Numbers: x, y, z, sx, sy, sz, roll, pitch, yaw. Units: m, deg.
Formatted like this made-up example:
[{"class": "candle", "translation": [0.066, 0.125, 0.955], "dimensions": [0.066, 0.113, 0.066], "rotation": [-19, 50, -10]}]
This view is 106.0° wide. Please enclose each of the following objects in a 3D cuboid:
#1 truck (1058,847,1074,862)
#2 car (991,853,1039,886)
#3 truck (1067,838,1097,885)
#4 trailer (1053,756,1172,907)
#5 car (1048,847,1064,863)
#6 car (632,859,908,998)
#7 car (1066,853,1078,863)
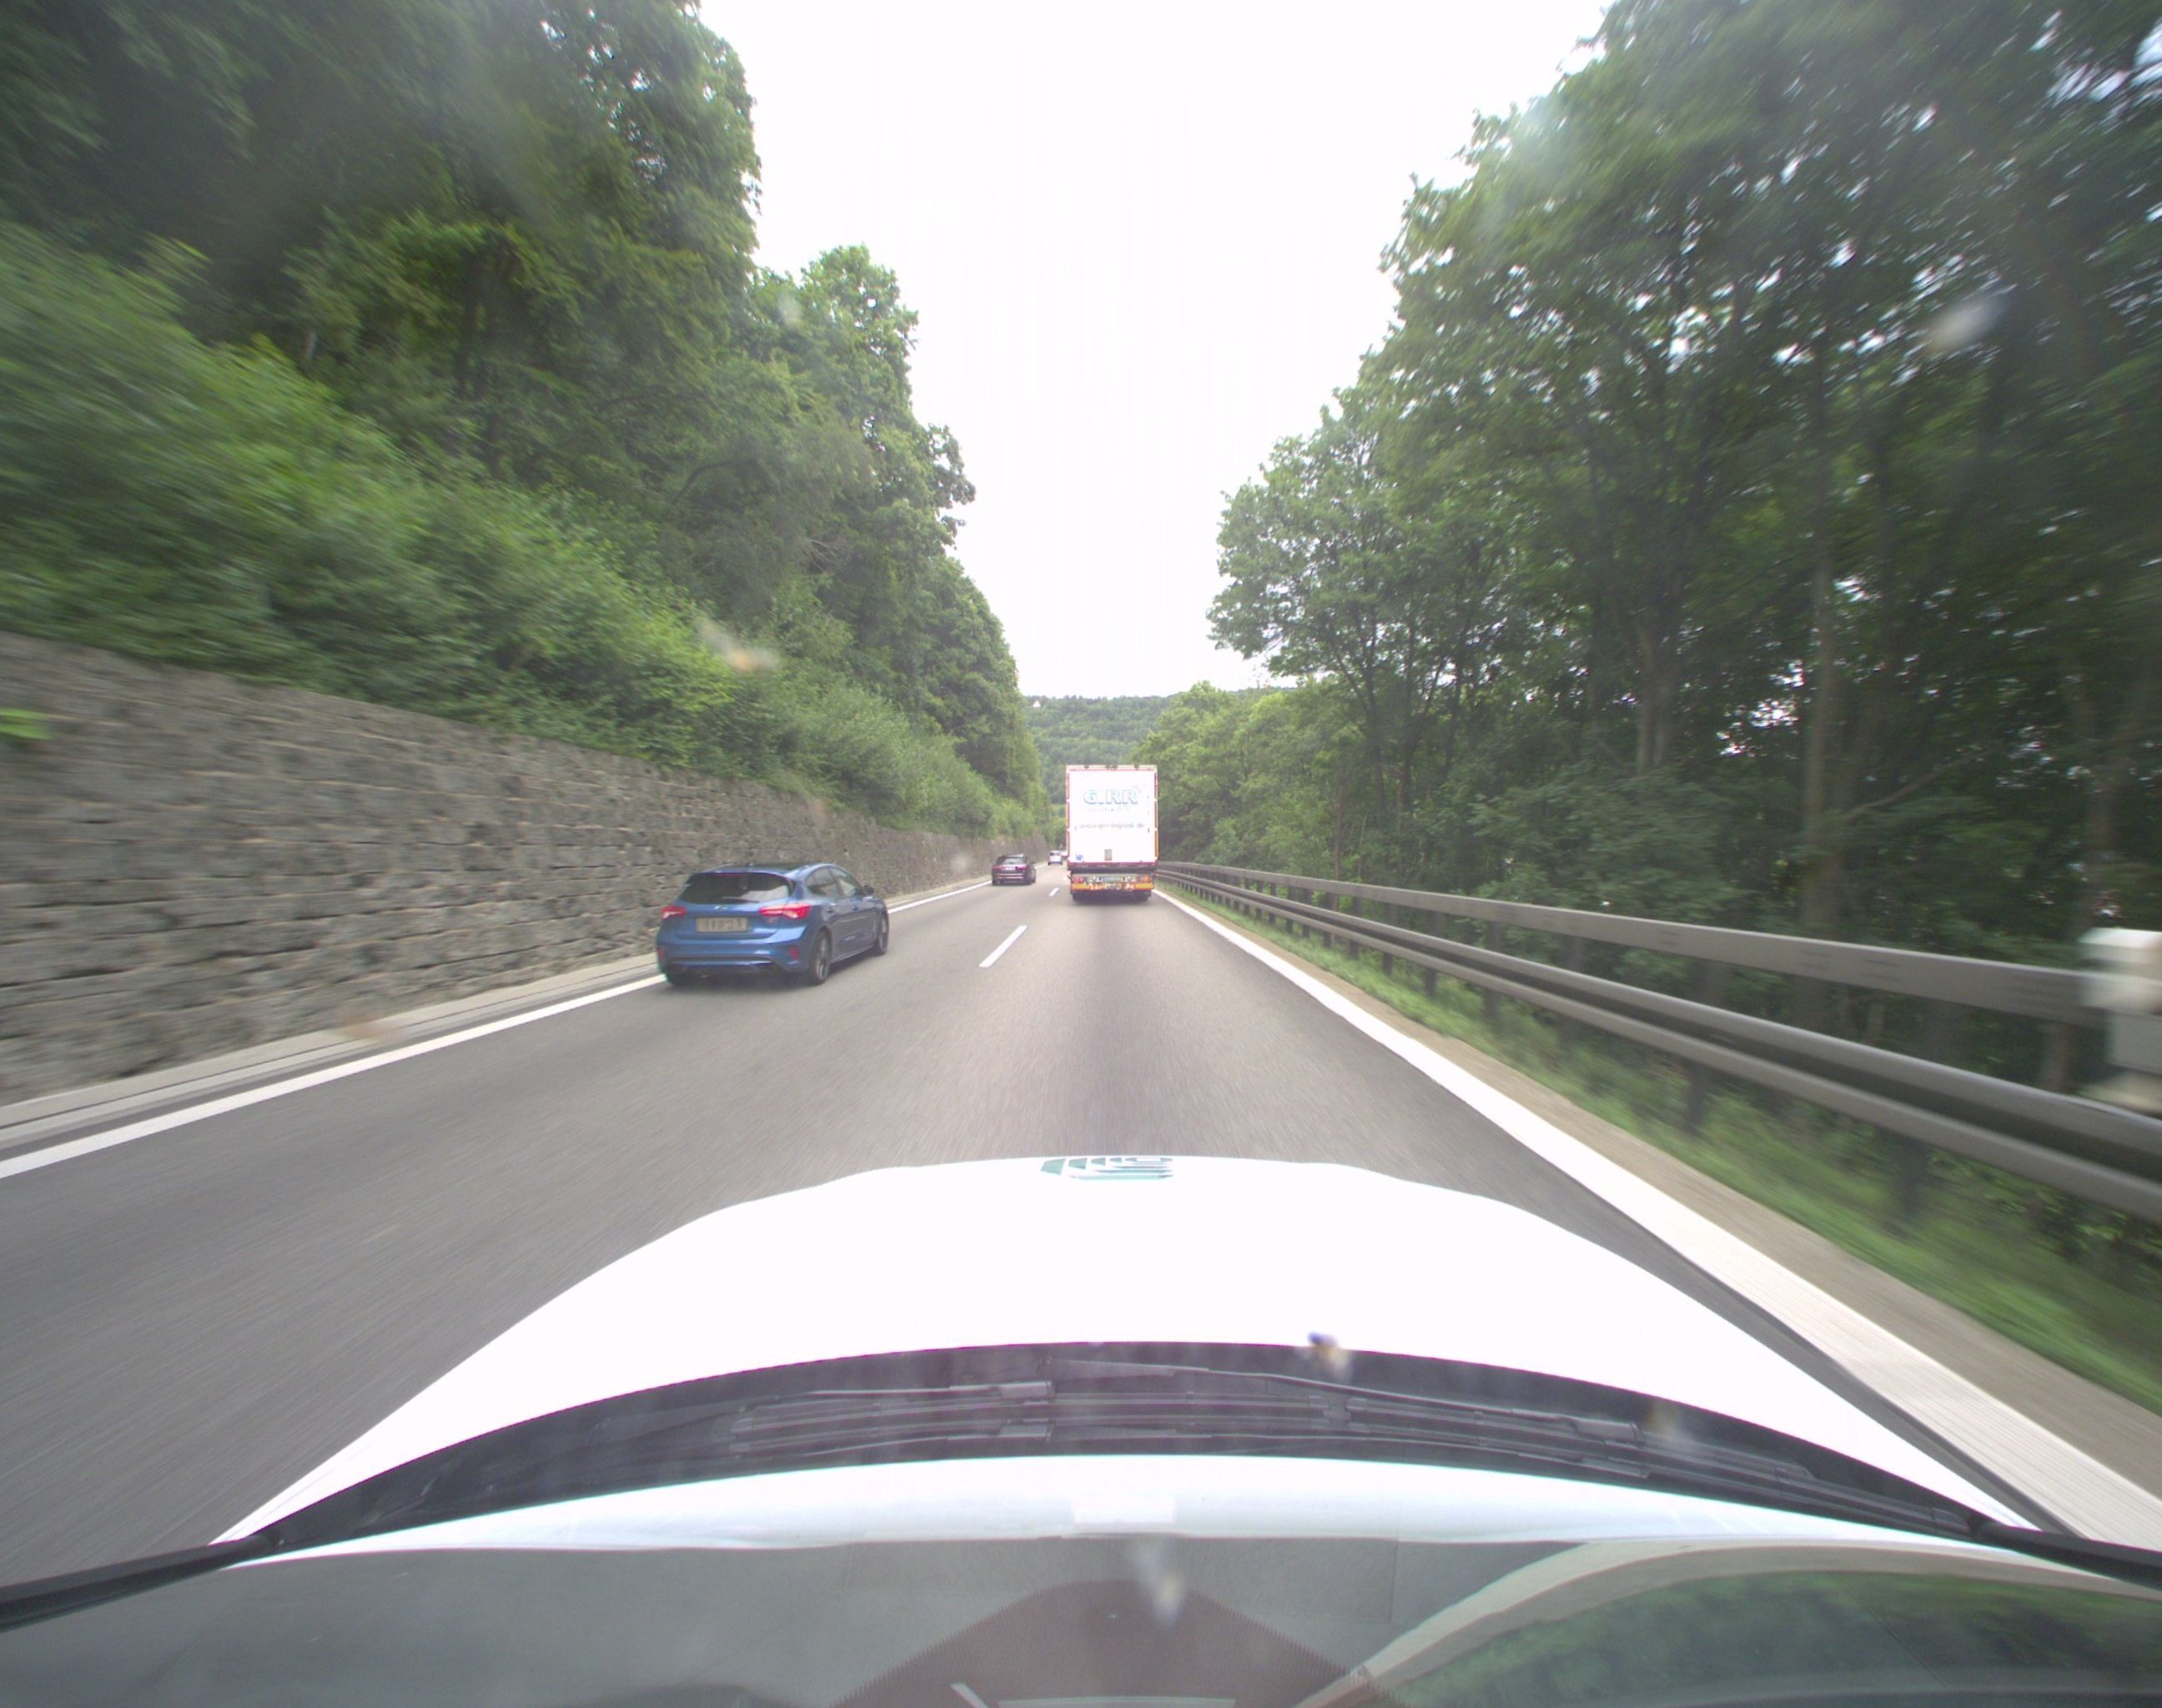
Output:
[{"class": "truck", "translation": [-2.322, 0.031, 129.125], "dimensions": [2.342, 2.274, 6.847], "rotation": [2, 0, 0]}, {"class": "car", "translation": [-3.143, 0.710, 39.586], "dimensions": [1.754, 1.463, 5.124], "rotation": [0, 0, 2]}, {"class": "truck", "translation": [0.018, 0.598, 69.780], "dimensions": [2.228, 3.804, 6.817], "rotation": [2, 0, -2]}, {"class": "trailer", "translation": [0.900, -0.667, 27.348], "dimensions": [3.123, 4.042, 9.439], "rotation": [3, 1, 0]}, {"class": "car", "translation": [-2.902, 0.134, 94.155], "dimensions": [1.628, 1.726, 4.345], "rotation": [0, 0, 1]}, {"class": "car", "translation": [-3.805, 0.809, 10.969], "dimensions": [1.829, 1.469, 4.557], "rotation": [0, 0, 2]}, {"class": "car", "translation": [-1.676, 0.740, 158.242], "dimensions": [2.010, 1.914, 5.566], "rotation": [2, 0, 2]}]
